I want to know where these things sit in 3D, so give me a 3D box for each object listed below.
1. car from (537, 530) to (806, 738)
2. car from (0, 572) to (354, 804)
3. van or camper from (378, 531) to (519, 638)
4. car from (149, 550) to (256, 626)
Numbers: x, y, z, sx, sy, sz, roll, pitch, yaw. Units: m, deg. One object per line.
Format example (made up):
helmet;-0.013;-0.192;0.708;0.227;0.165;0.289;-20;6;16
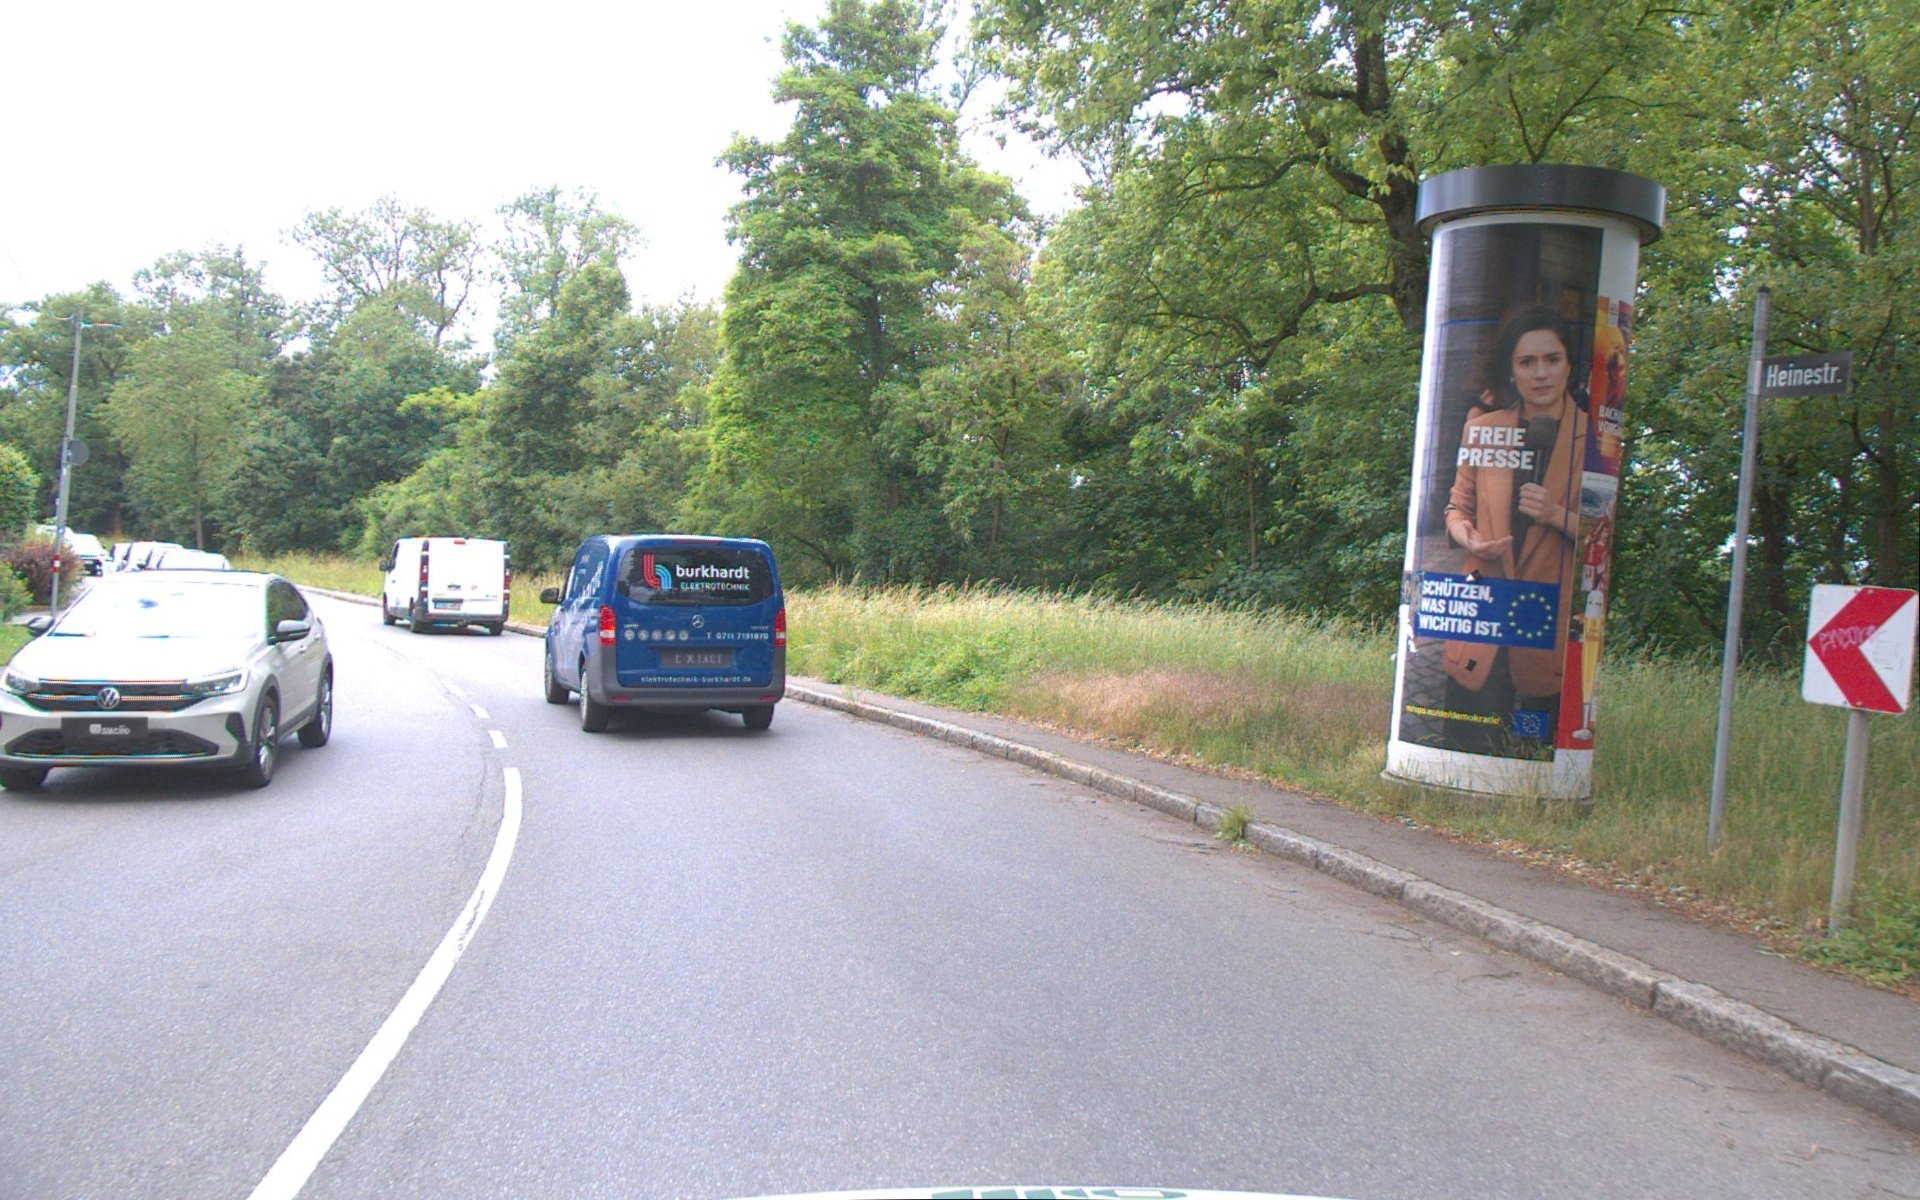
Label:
car;-3.128;0.257;17.167;1.887;1.869;4.266;1;1;-22
car;-5.915;0.539;12.774;1.694;1.482;4.067;0;1;-11
van or camper;-11.050;-0.380;35.479;1.996;1.990;4.854;3;1;-27
car;-16.308;-0.292;35.492;1.716;1.443;4.461;2;1;-29
